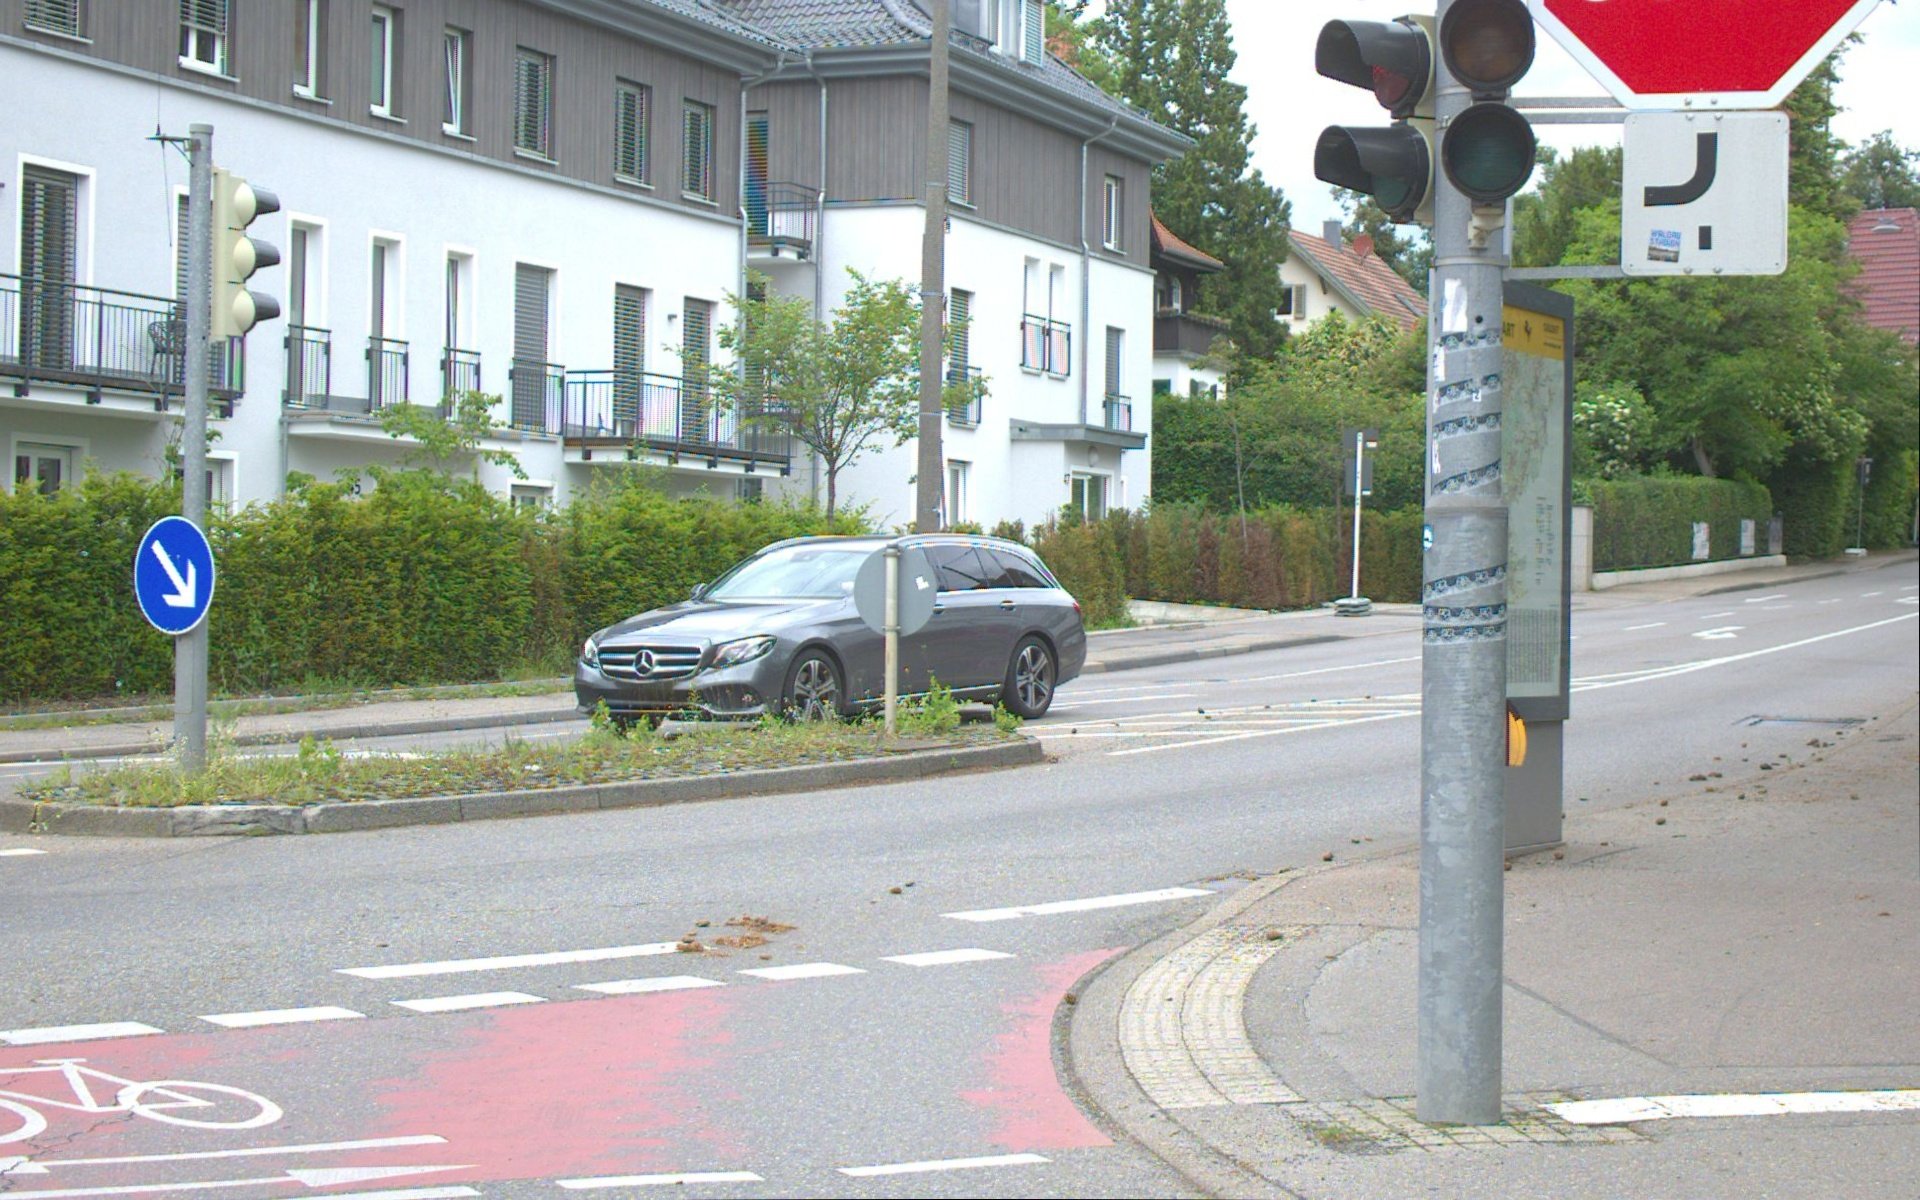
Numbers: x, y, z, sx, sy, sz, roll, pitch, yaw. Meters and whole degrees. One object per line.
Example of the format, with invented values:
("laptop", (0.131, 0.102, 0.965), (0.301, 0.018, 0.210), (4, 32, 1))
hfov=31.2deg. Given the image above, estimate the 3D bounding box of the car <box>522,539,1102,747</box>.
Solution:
("car", (-1.007, 0.253, 26.082), (1.942, 1.399, 4.733), (1, 2, 34))
